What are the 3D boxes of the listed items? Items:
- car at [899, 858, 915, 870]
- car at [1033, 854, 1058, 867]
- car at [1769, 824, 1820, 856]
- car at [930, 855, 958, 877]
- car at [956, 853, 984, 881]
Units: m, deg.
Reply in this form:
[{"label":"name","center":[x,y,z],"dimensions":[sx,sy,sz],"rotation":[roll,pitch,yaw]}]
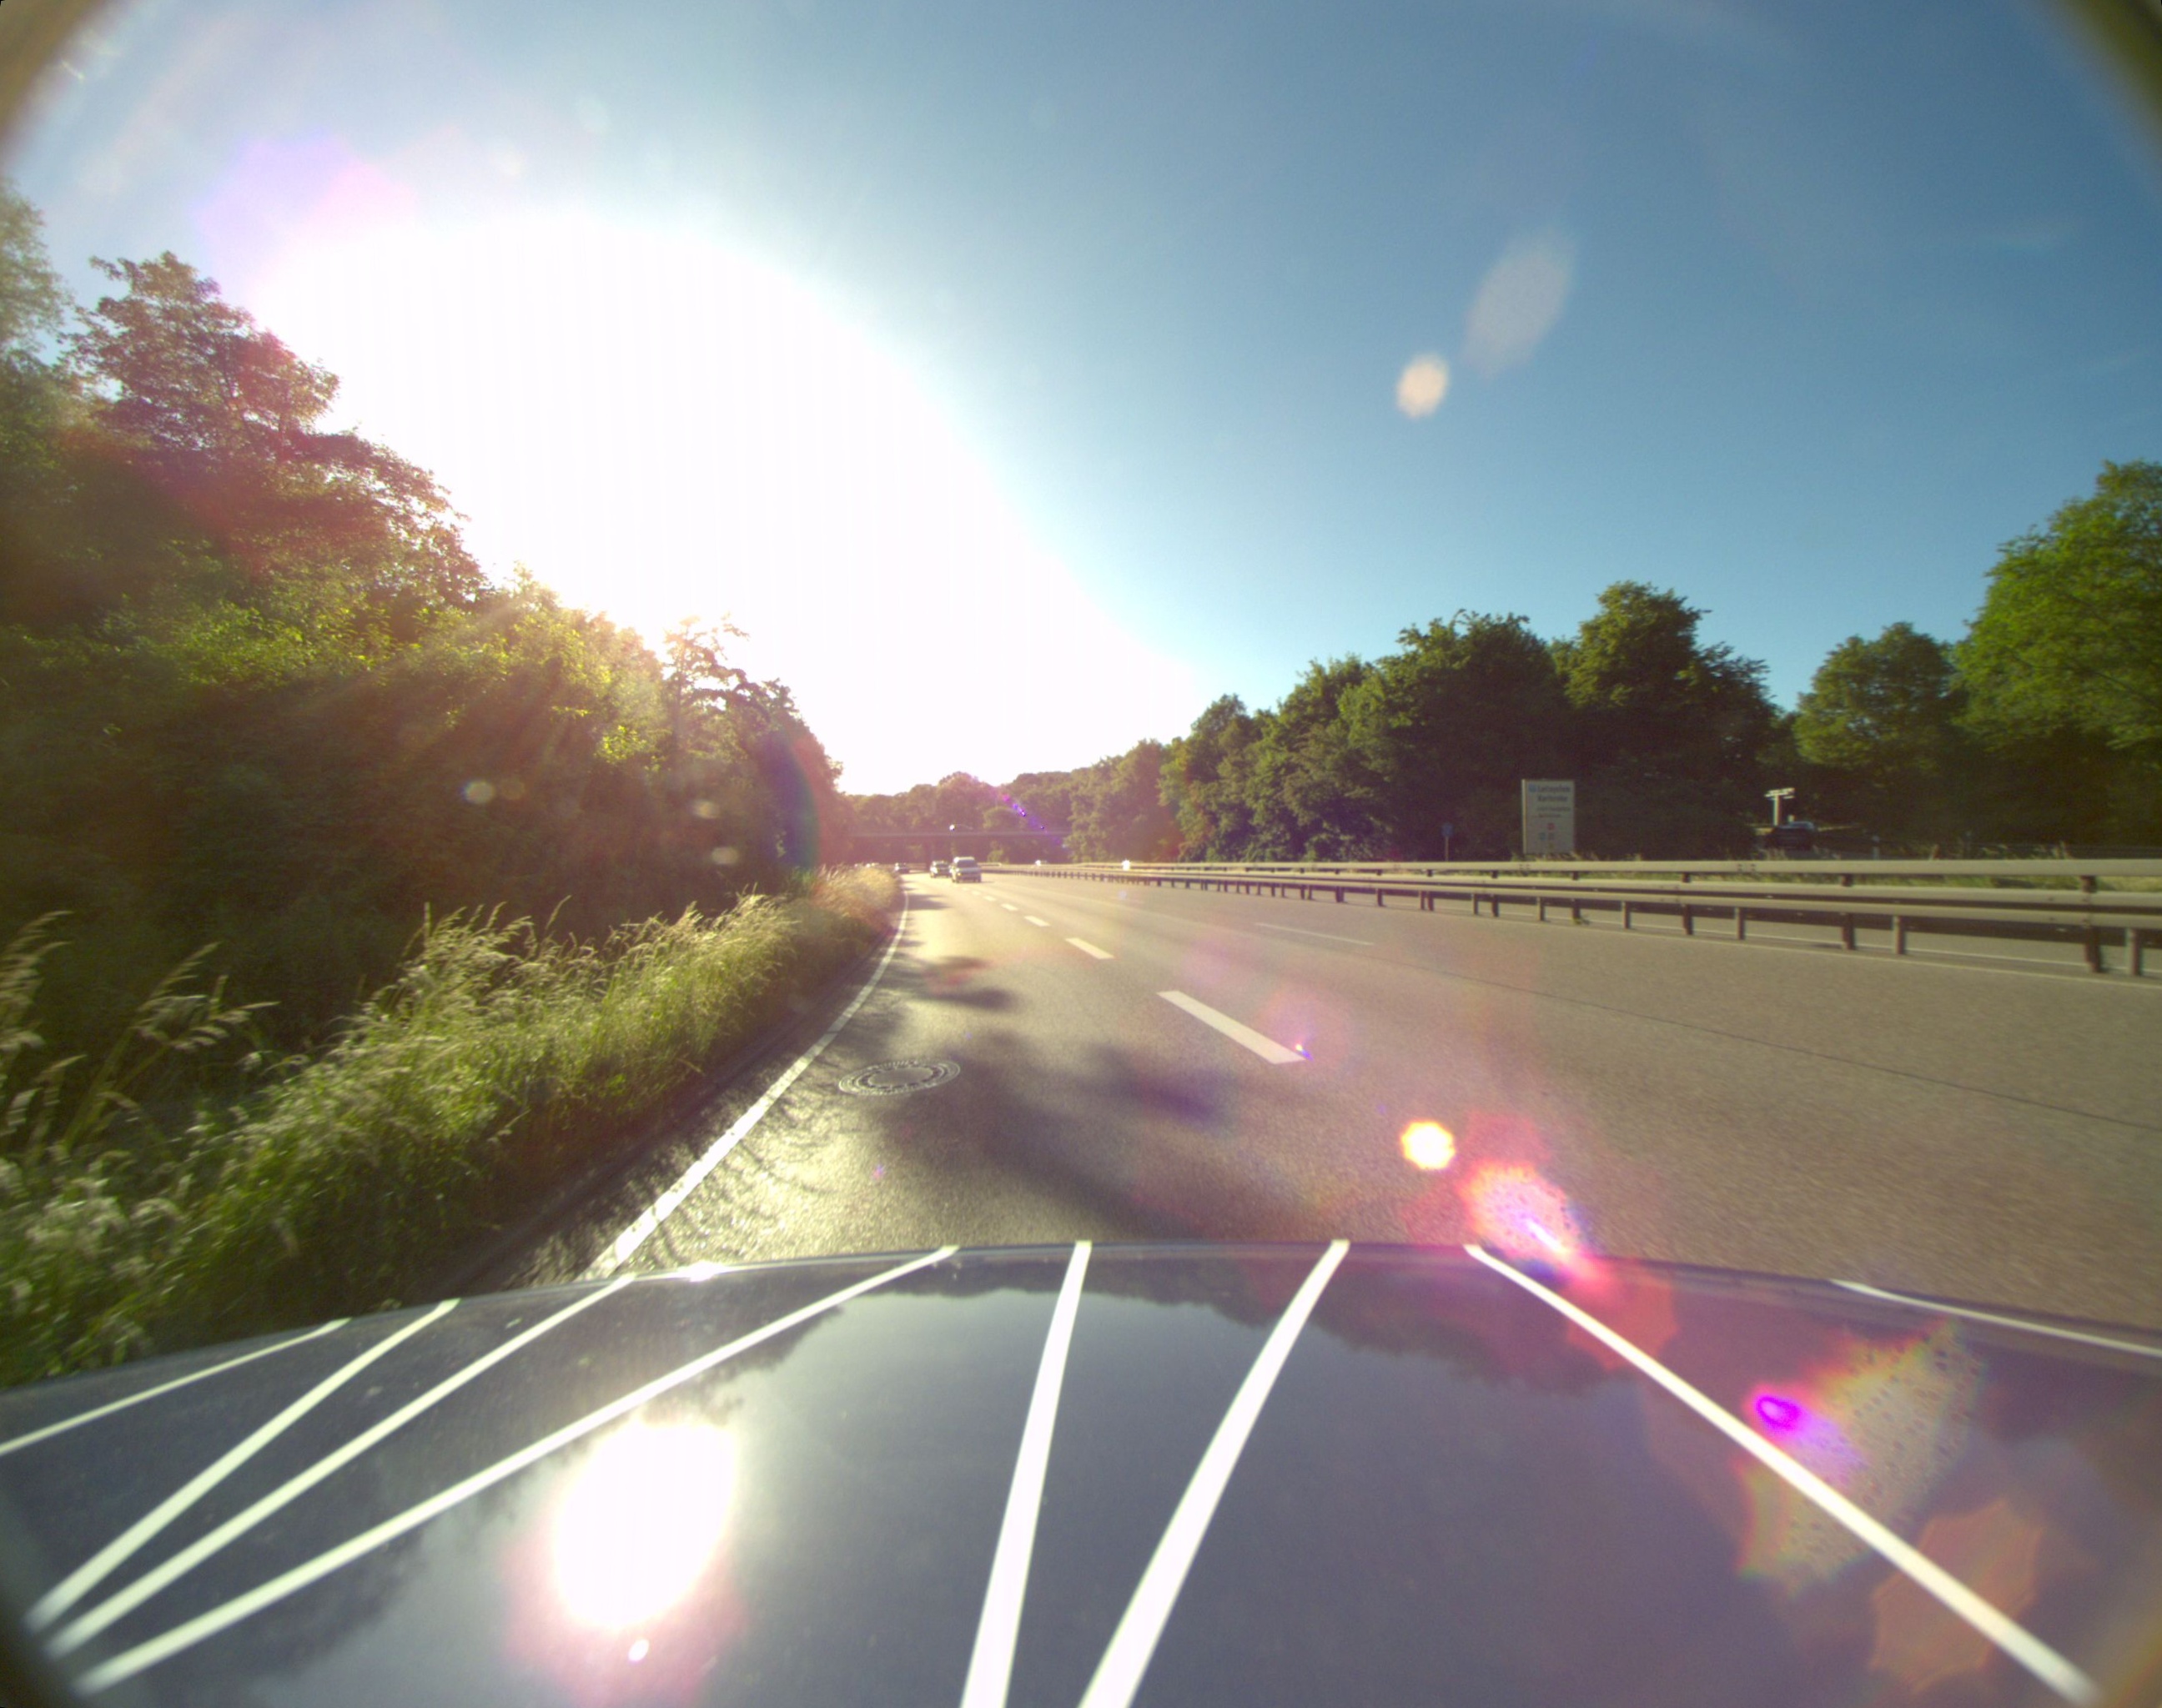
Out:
[{"label":"car","center":[-24.481,1.380,106.915],"dimensions":[1.937,1.499,5.078],"rotation":[-2,1,-15]},{"label":"car","center":[-4.697,0.882,99.477],"dimensions":[2.002,1.640,4.415],"rotation":[-2,0,-20]},{"label":"car","center":[45.836,-0.934,48.898],"dimensions":[1.994,1.849,4.673],"rotation":[-1,2,38]},{"label":"car","center":[-13.621,1.155,75.393],"dimensions":[2.259,1.843,5.133],"rotation":[-2,3,-14]},{"label":"car","center":[-8.099,0.915,55.119],"dimensions":[1.801,1.797,4.827],"rotation":[-3,1,-10]}]
